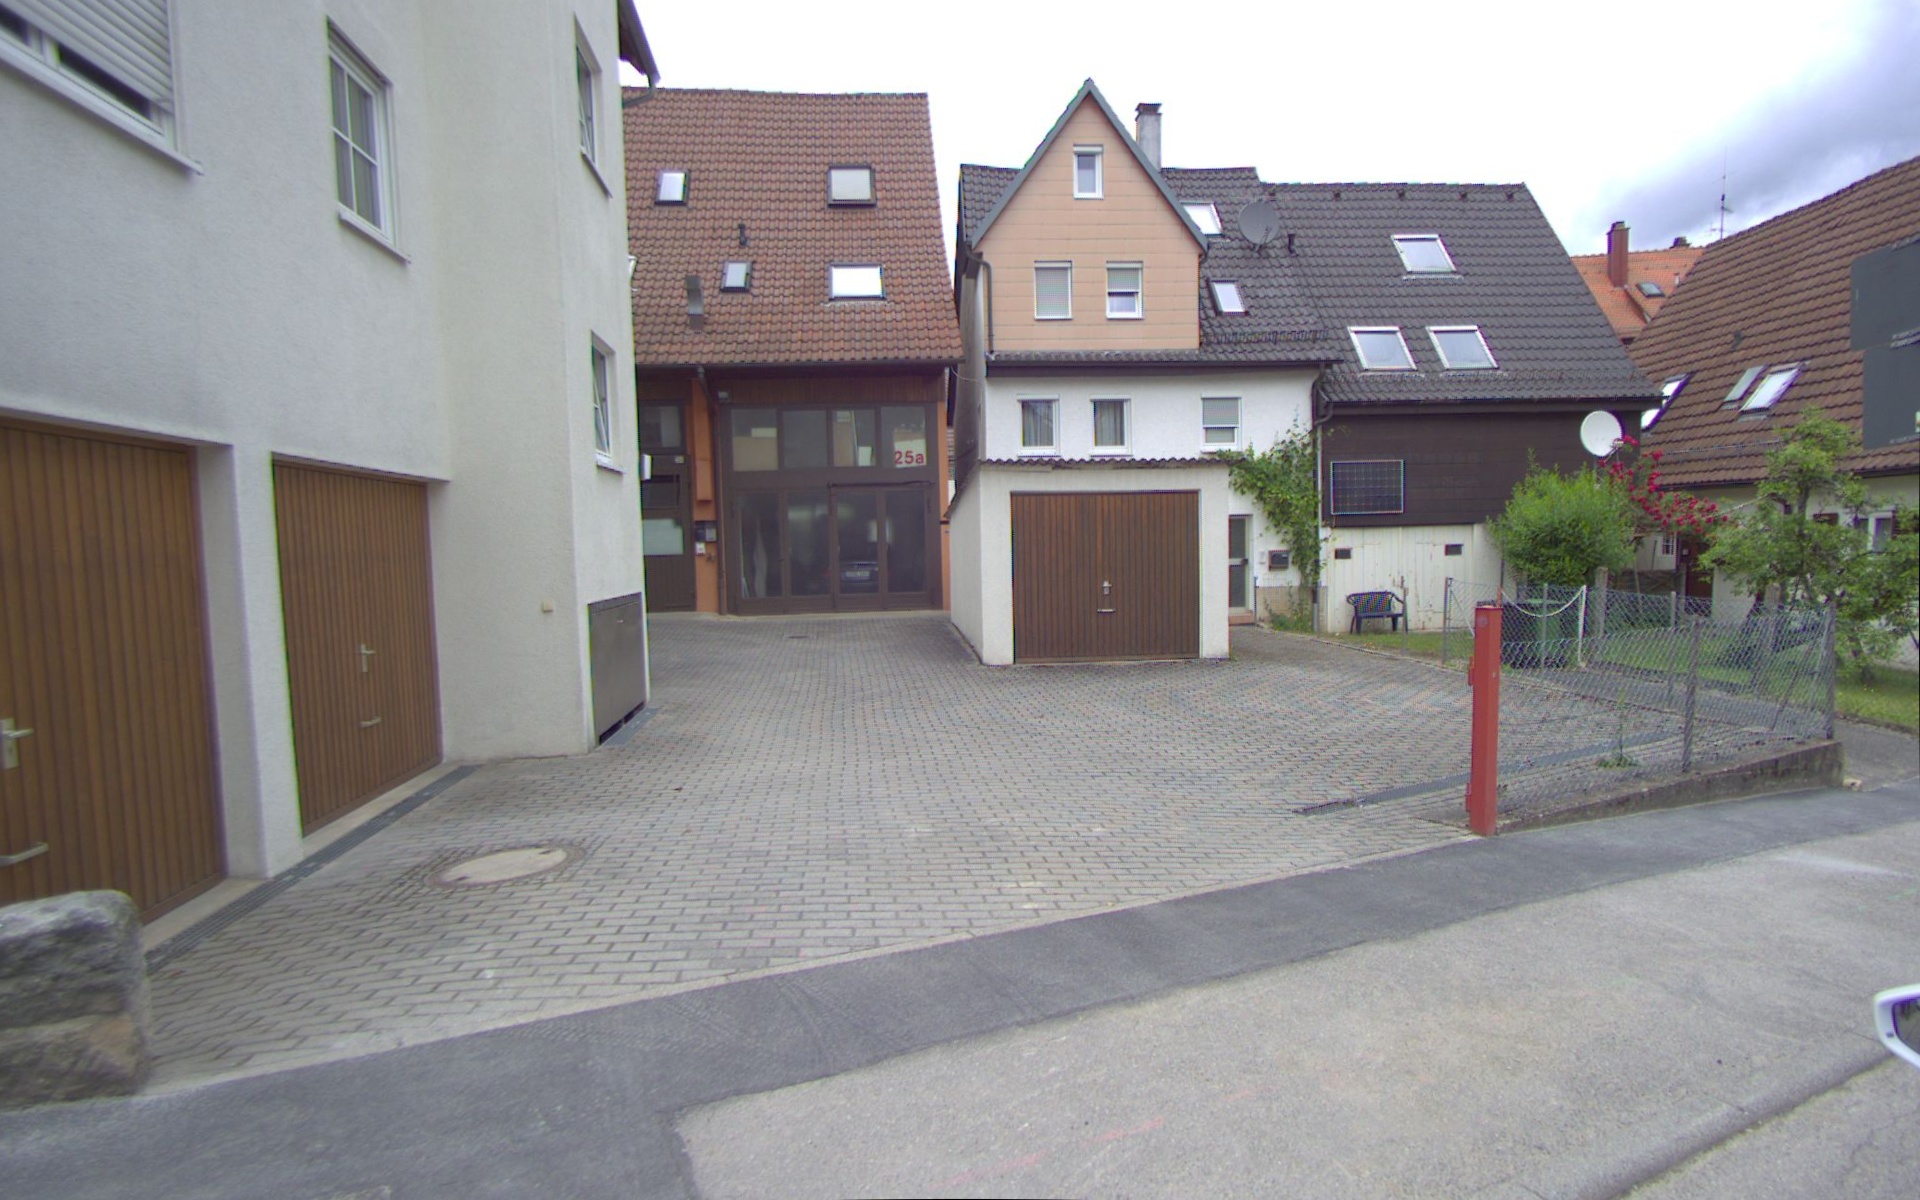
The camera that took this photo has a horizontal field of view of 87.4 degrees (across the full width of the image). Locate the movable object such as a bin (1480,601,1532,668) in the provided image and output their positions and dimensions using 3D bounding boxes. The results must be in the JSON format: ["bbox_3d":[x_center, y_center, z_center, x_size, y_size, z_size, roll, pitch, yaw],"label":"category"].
[{"bbox_3d":[7.529,0.473,13.861,0.481,0.905,0.376,1,1,-13],"label":"movable object such as a bin"}]

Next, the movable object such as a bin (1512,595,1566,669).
[{"bbox_3d":[8.066,0.440,14.000,0.499,0.994,0.399,1,1,-13],"label":"movable object such as a bin"}]
